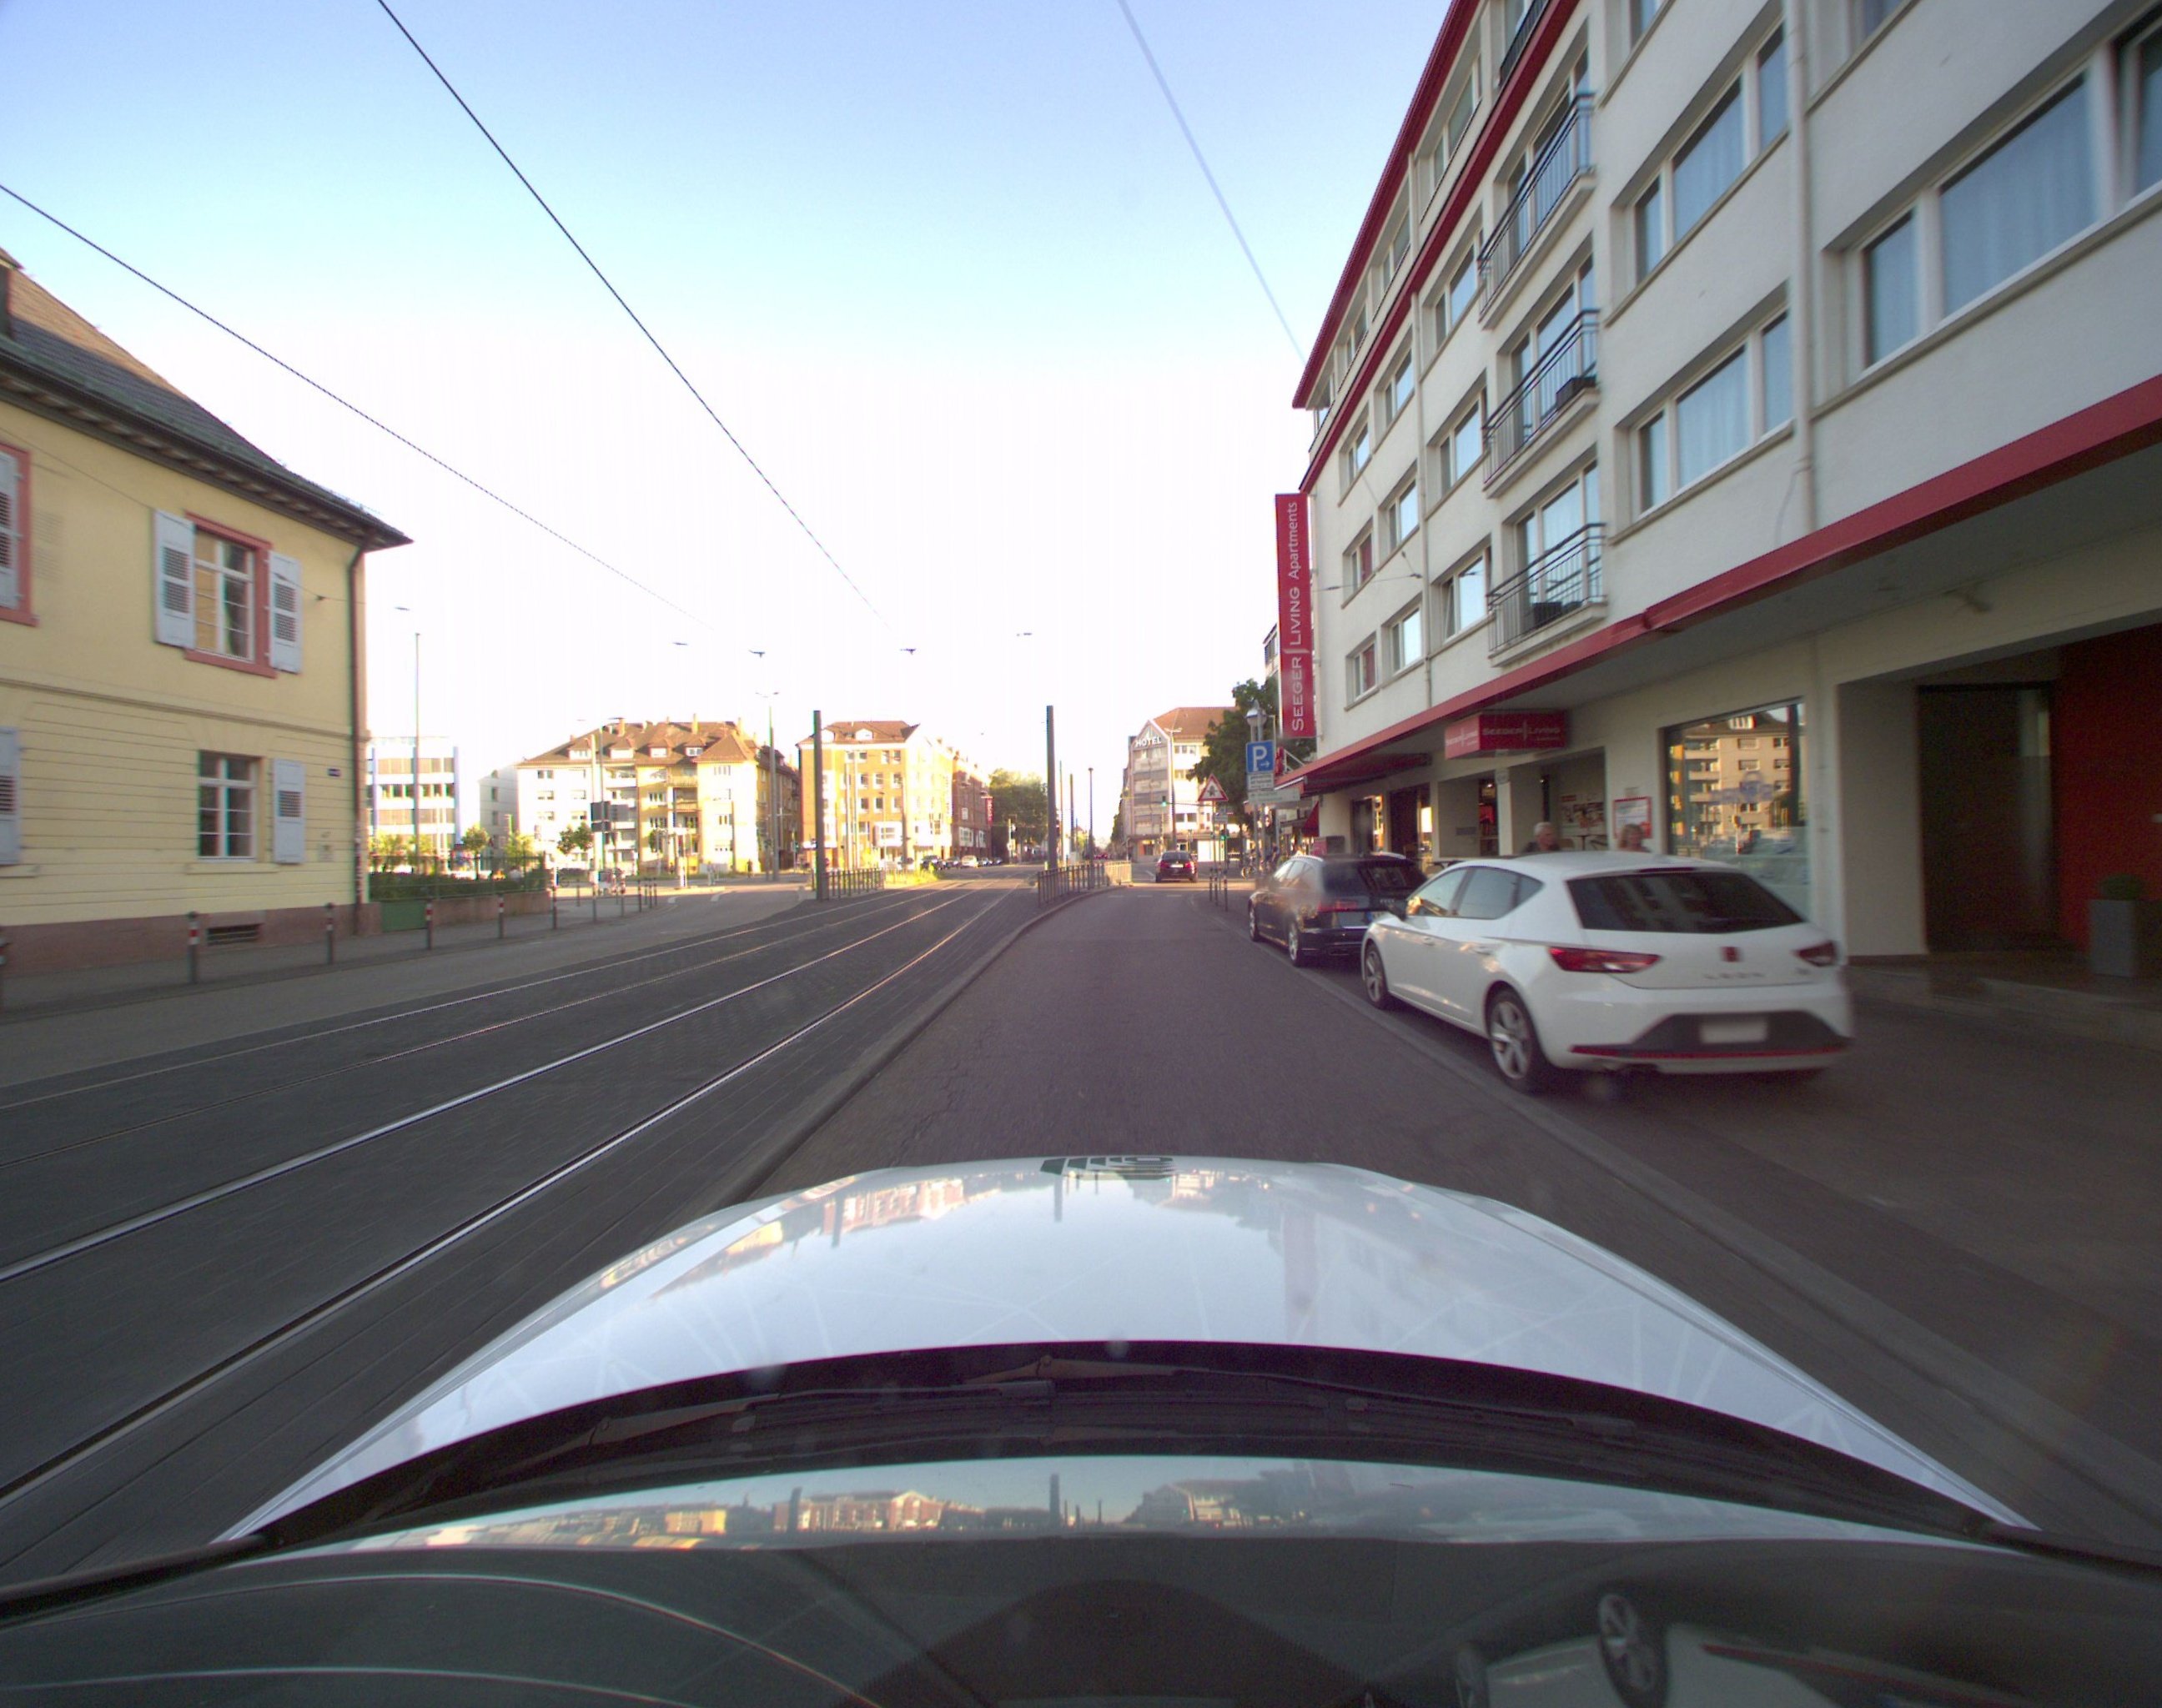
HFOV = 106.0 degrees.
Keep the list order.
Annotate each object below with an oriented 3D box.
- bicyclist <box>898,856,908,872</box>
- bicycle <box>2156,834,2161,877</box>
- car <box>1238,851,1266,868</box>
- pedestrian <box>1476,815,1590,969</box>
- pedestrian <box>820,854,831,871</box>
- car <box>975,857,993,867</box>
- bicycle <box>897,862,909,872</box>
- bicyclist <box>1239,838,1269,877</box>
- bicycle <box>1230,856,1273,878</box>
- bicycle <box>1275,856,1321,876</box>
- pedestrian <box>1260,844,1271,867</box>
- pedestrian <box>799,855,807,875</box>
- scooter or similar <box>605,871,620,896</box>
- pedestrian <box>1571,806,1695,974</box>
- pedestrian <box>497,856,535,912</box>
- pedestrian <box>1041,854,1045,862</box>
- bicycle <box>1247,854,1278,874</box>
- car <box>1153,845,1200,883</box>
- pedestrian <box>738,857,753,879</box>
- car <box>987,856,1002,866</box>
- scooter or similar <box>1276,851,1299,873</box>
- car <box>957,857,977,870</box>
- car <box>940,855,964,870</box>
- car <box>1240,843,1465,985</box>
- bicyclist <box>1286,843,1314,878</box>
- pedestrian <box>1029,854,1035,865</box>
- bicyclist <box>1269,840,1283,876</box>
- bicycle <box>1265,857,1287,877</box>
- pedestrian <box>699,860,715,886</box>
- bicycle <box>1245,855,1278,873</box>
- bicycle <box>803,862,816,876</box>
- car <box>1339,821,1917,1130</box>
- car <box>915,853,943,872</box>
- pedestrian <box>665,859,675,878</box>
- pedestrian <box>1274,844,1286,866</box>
[{"bbox_3d":[-18.632,1.015,85.249,0.658,1.688,0.982,-2,0,9],"label":"bicyclist"},{"bbox_3d":[31.043,0.069,22.483,0.696,1.220,2.125,-1,1,24],"label":"bicycle"},{"bbox_3d":[16.487,0.536,78.769,1.986,1.552,4.002,-2,0,2],"label":"car"},{"bbox_3d":[5.346,0.430,9.691,0.823,1.718,0.843,-3,0,2],"label":"pedestrian"},{"bbox_3d":[-27.501,0.893,87.726,0.939,1.868,0.836,0,0,-8],"label":"pedestrian"},{"bbox_3d":[-15.007,1.261,126.191,1.659,1.448,4.212,-2,0,9],"label":"car"},{"bbox_3d":[-18.636,1.391,85.120,0.662,1.008,1.627,-2,0,8],"label":"bicycle"},{"bbox_3d":[8.562,0.177,40.362,0.844,1.917,1.103,-1,0,-35],"label":"bicyclist"},{"bbox_3d":[8.474,0.654,40.489,0.844,1.020,2.055,-1,0,-35],"label":"bicycle"},{"bbox_3d":[10.453,0.579,39.222,1.988,0.881,0.845,-2,-1,25],"label":"bicycle"},{"bbox_3d":[13.924,0.098,61.365,0.681,1.667,0.672,-2,0,5],"label":"pedestrian"},{"bbox_3d":[-26.410,1.061,77.365,0.501,1.868,0.562,0,0,-4],"label":"pedestrian"},{"bbox_3d":[-24.869,1.563,43.210,0.520,1.272,1.242,-2,0,-38],"label":"scooter or similar"},{"bbox_3d":[6.117,0.382,9.071,0.726,1.741,0.863,-3,0,2],"label":"pedestrian"},{"bbox_3d":[-19.305,1.018,27.849,0.720,1.893,0.770,-2,0,25],"label":"pedestrian"},{"bbox_3d":[-8.029,0.833,171.042,0.720,1.681,0.992,-2,0,4],"label":"pedestrian"},{"bbox_3d":[11.600,0.635,51.984,1.891,1.235,0.670,-1,0,12],"label":"bicycle"},{"bbox_3d":[4.414,0.443,37.512,1.983,1.585,4.008,-2,0,7],"label":"car"},{"bbox_3d":[-29.846,1.241,72.428,1.099,1.944,1.019,-2,0,-18],"label":"pedestrian"},{"bbox_3d":[-14.844,1.249,139.672,1.987,1.585,4.477,-2,0,-1],"label":"car"},{"bbox_3d":[11.814,0.490,46.581,1.262,1.235,0.340,-2,0,44],"label":"scooter or similar"},{"bbox_3d":[-15.005,1.268,107.370,1.988,1.585,4.112,-2,0,-1],"label":"car"},{"bbox_3d":[-14.993,0.978,94.957,1.987,1.585,4.585,-2,0,-1],"label":"car"},{"bbox_3d":[3.522,0.672,11.542,1.728,1.512,4.688,-3,0,2],"label":"car"},{"bbox_3d":[10.548,0.299,39.174,1.101,1.623,0.845,-2,0,25],"label":"bicyclist"},{"bbox_3d":[-8.803,0.963,146.138,0.984,2.014,0.726,0,-1,0],"label":"pedestrian"},{"bbox_3d":[9.905,0.209,41.378,0.464,1.830,0.558,-2,0,-7],"label":"bicyclist"},{"bbox_3d":[9.906,0.638,41.434,0.464,0.970,1.796,-2,0,-6],"label":"bicycle"},{"bbox_3d":[-27.330,1.384,59.529,0.885,1.868,0.970,-2,0,-19],"label":"pedestrian"},{"bbox_3d":[11.328,0.636,51.037,1.982,1.110,0.671,-1,0,14],"label":"bicycle"},{"bbox_3d":[-25.860,1.405,77.531,0.616,1.325,2.014,0,0,-2],"label":"bicycle"},{"bbox_3d":[3.466,0.629,6.246,1.778,1.512,4.054,-3,0,2],"label":"car"},{"bbox_3d":[-15.756,0.833,84.526,1.988,1.901,4.810,-2,0,-1],"label":"car"},{"bbox_3d":[-41.374,1.444,81.992,0.720,1.868,0.880,-2,0,-18],"label":"pedestrian"},{"bbox_3d":[15.079,0.085,61.709,0.719,1.667,0.672,-2,0,5],"label":"pedestrian"}]
